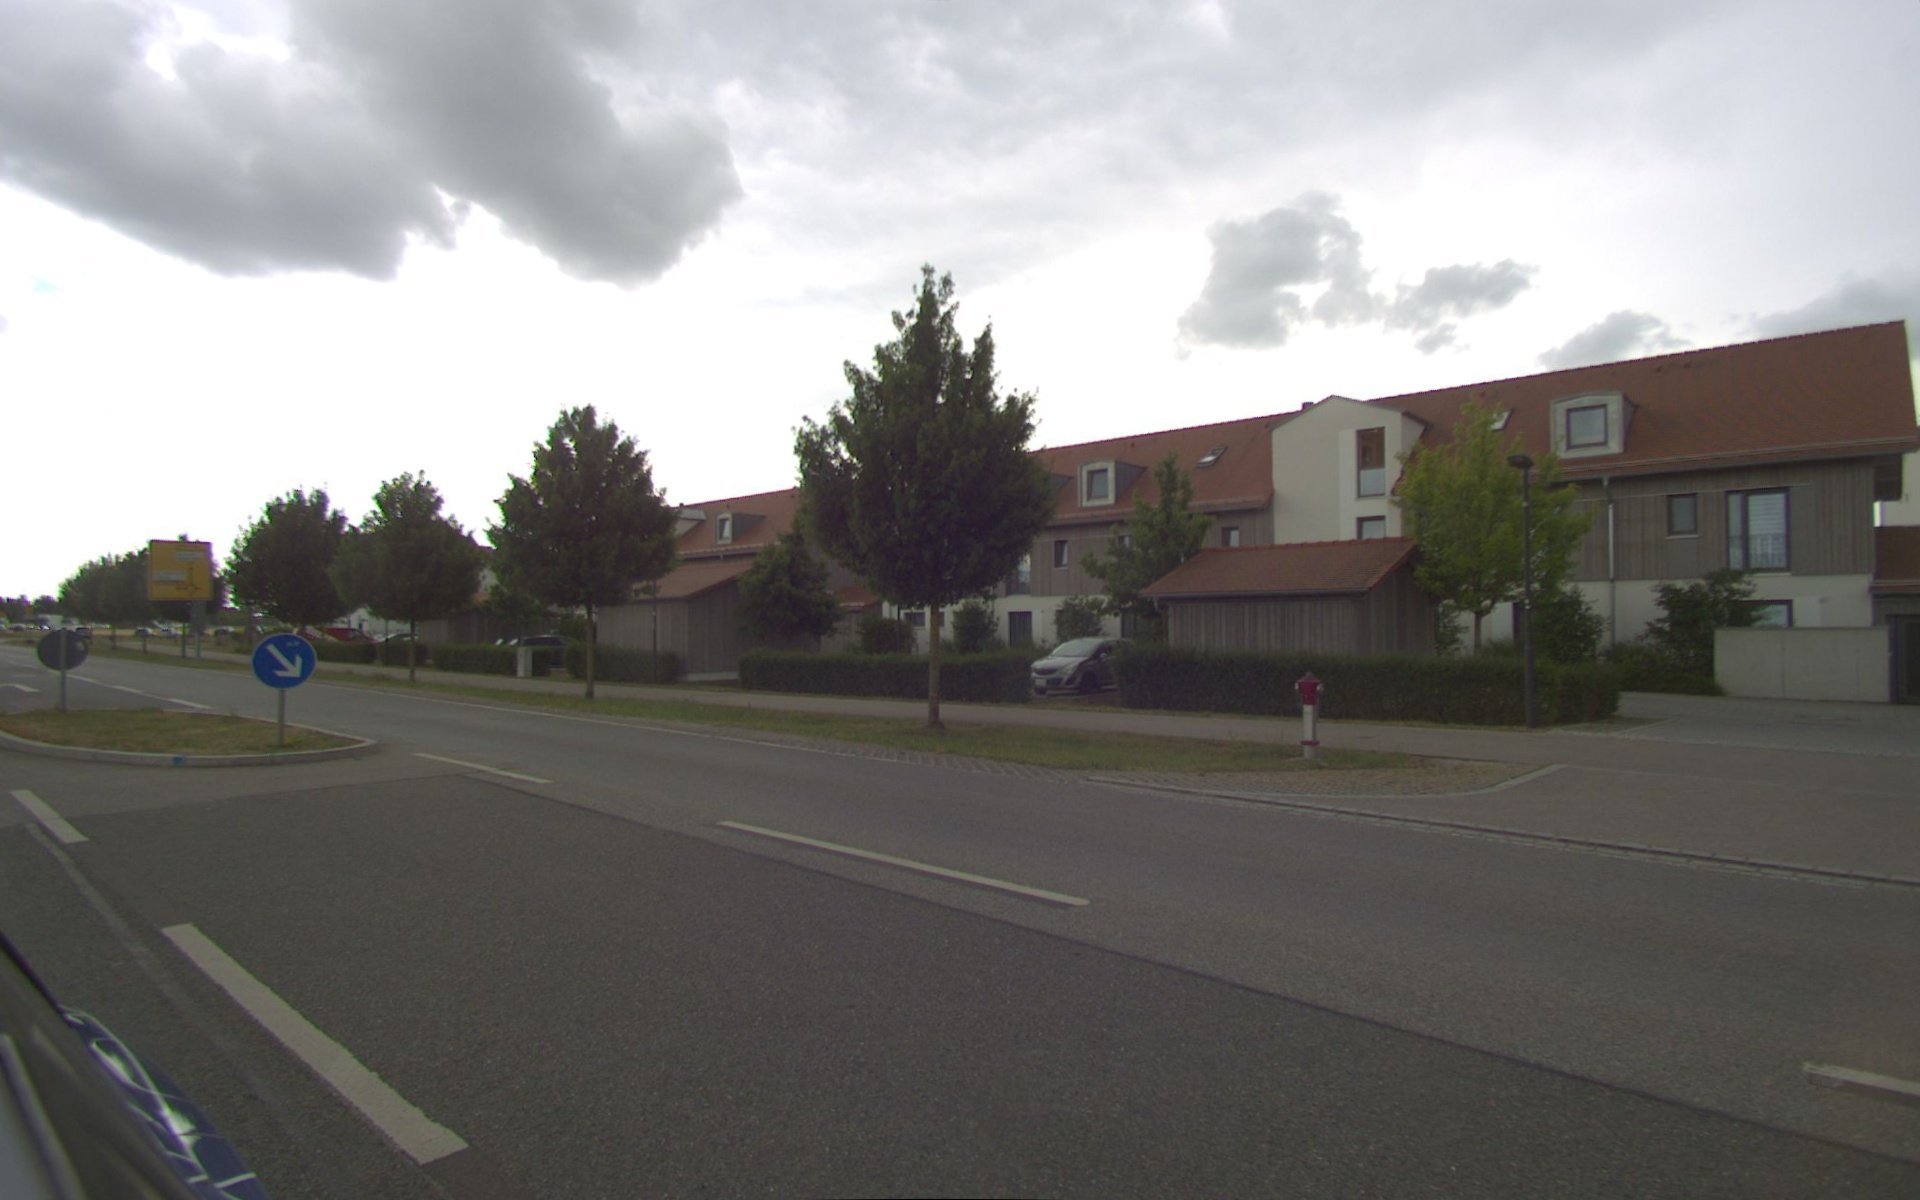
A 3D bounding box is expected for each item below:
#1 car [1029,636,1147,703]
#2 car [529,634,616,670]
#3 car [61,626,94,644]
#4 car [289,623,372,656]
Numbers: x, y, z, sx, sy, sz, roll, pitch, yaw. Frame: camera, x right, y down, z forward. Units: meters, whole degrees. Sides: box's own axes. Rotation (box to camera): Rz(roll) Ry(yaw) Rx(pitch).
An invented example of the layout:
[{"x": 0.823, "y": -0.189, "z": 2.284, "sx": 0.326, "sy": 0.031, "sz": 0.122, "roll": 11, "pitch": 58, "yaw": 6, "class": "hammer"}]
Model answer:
[{"x": 3.392, "y": 1.750, "z": 26.340, "sx": 1.300, "sy": 1.450, "sz": 3.546, "roll": -1, "pitch": 0, "yaw": 41, "class": "car"}, {"x": -17.966, "y": 2.399, "z": 47.021, "sx": 1.300, "sy": 1.450, "sz": 3.546, "roll": -1, "pitch": 0, "yaw": 41, "class": "car"}, {"x": -93.439, "y": 3.710, "z": 107.141, "sx": 3.996, "sy": 1.796, "sz": 1.974, "roll": -1, "pitch": 0, "yaw": 39, "class": "car"}, {"x": -42.948, "y": 2.633, "z": 69.118, "sx": 4.505, "sy": 2.029, "sz": 2.001, "roll": -1, "pitch": 0, "yaw": -44, "class": "car"}]
